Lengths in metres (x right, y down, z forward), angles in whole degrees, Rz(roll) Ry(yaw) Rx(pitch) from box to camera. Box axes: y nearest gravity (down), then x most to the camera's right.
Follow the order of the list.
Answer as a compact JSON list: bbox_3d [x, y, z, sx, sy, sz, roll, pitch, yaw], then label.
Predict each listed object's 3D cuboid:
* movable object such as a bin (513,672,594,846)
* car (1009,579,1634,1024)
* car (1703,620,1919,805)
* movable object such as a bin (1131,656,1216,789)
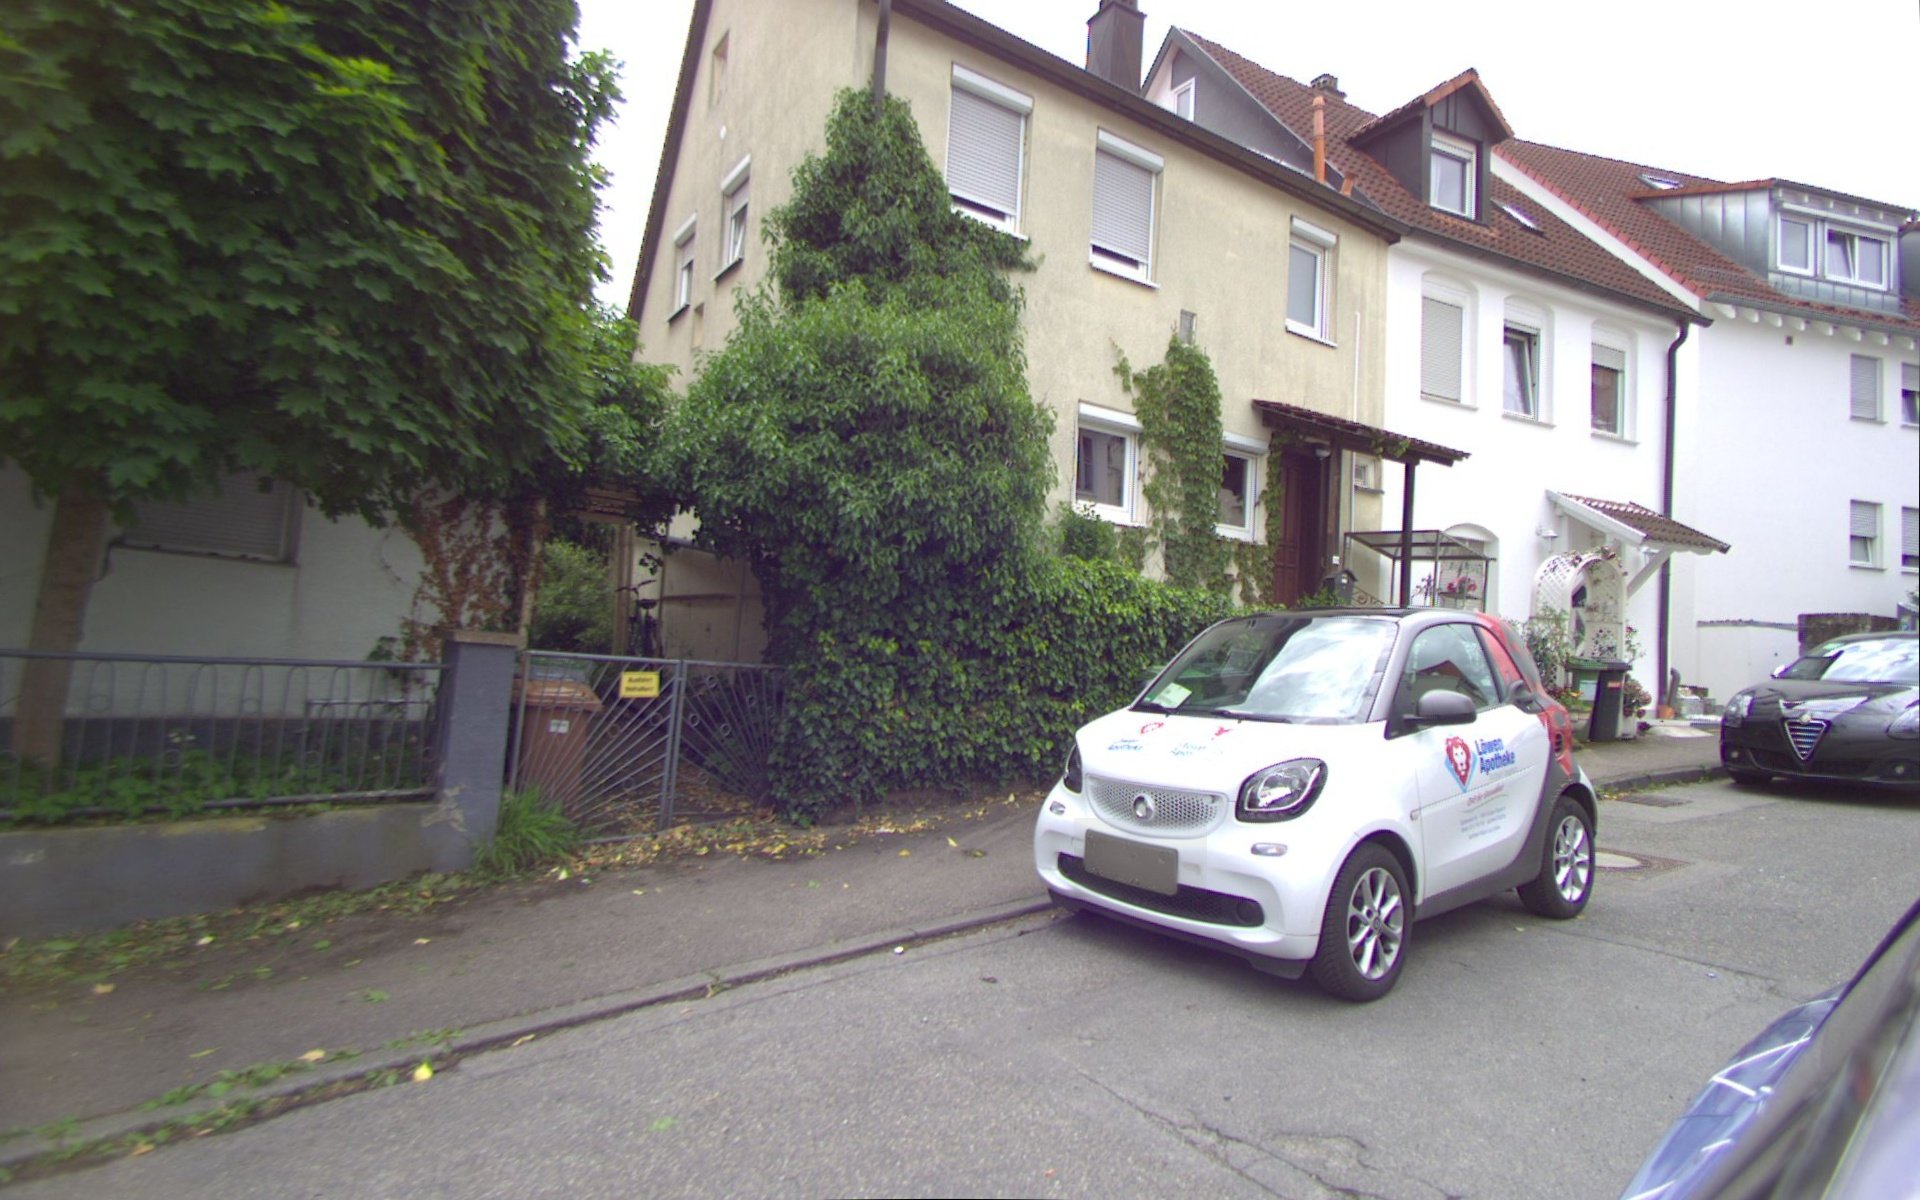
[{"bbox_3d":[-2.444,0.932,6.083,0.367,0.961,0.373,1,0,-35],"label":"movable object such as a bin"},{"bbox_3d":[1.870,0.750,5.079,2.843,1.552,1.615,0,-4,-37],"label":"car"},{"bbox_3d":[8.829,0.937,9.283,3.921,1.425,1.725,2,-3,-29],"label":"car"},{"bbox_3d":[1.642,0.925,7.792,0.437,0.924,0.440,-1,3,-32],"label":"movable object such as a bin"}]
